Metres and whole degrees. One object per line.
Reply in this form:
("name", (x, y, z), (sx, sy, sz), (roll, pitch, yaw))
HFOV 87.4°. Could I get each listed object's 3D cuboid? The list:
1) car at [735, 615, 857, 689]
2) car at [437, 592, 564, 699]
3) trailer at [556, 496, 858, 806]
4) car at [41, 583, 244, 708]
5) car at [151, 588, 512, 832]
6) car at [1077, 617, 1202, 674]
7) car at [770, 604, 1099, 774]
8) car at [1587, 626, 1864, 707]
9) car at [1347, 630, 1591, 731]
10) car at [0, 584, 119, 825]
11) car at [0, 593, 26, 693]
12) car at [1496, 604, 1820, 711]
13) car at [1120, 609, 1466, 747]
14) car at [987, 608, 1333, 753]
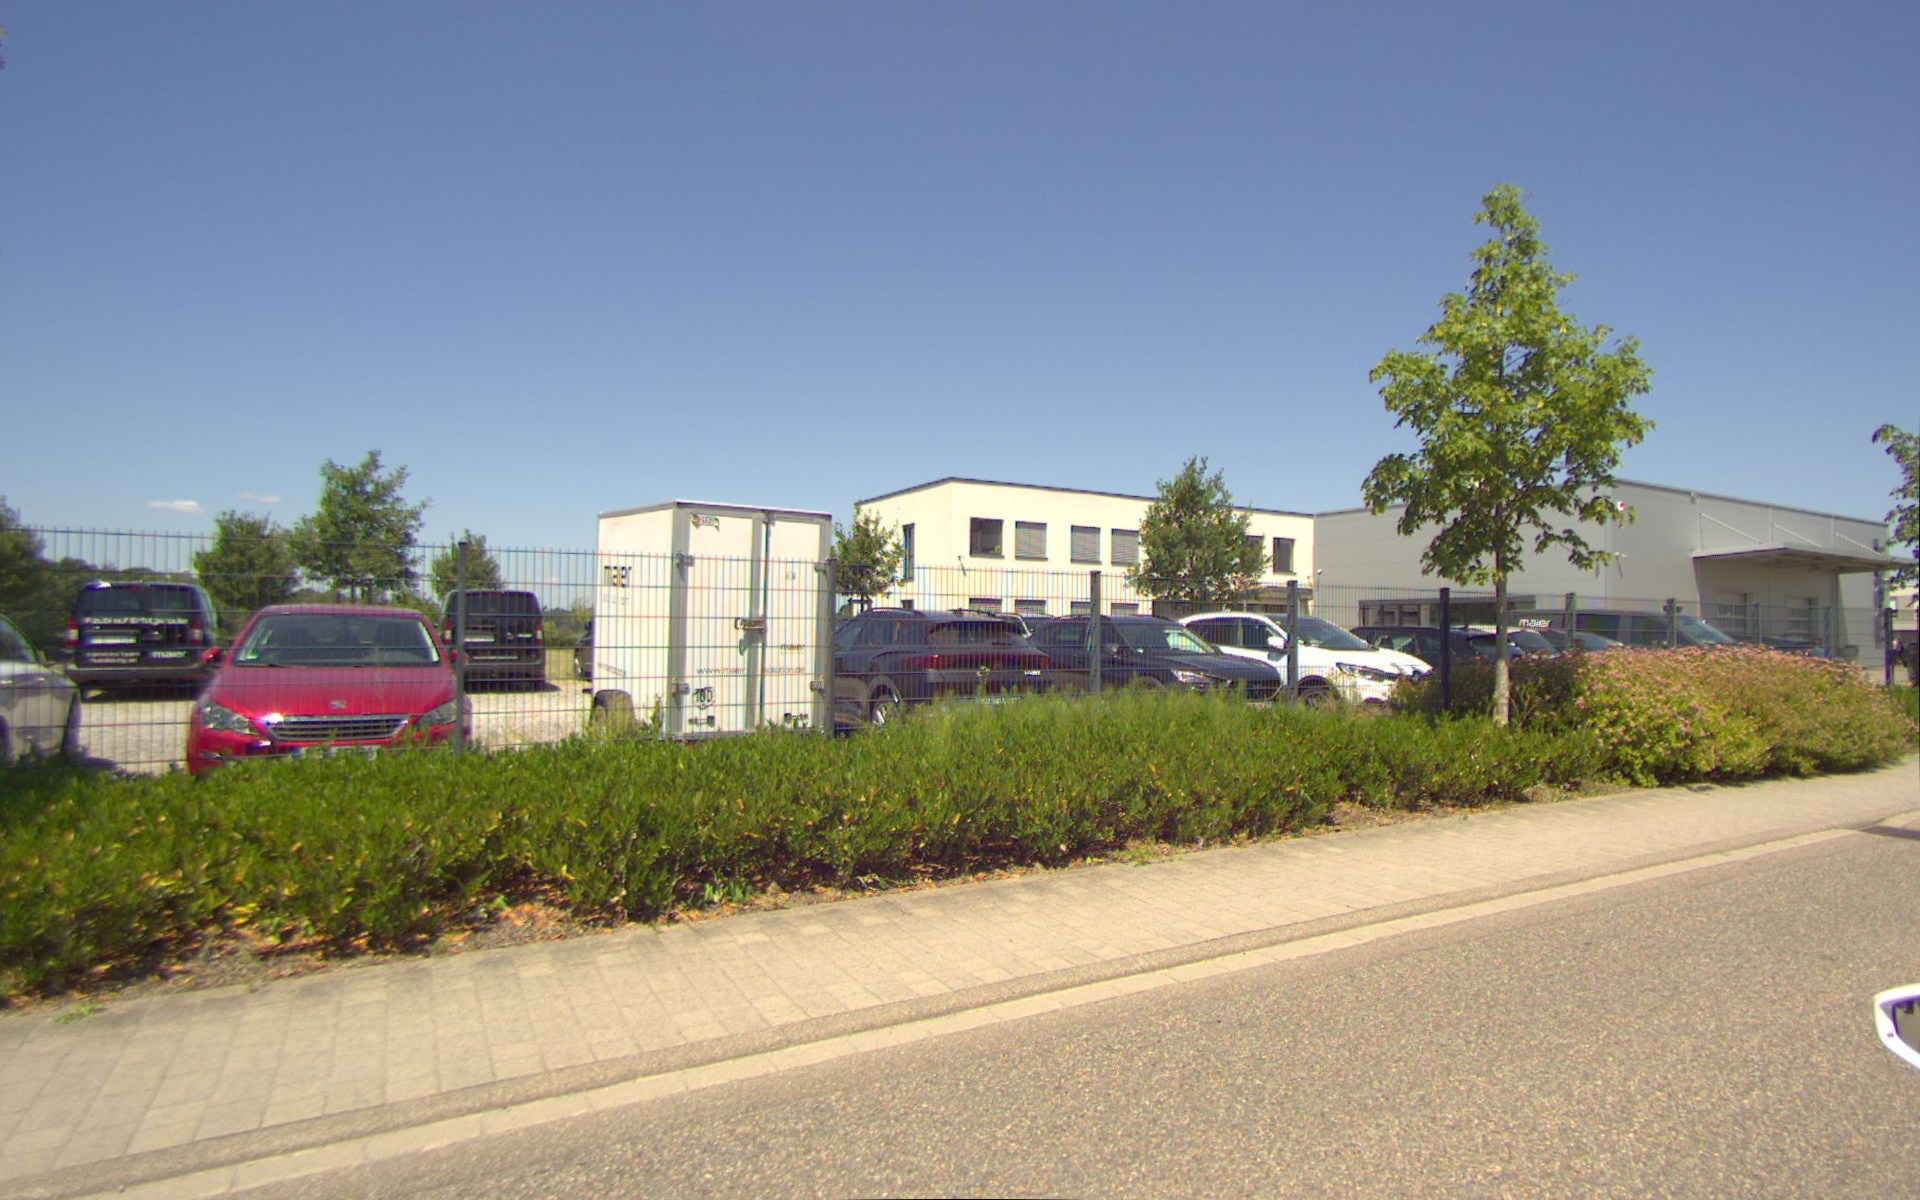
("car", (-3.584, 1.066, 21.545), (1.460, 1.433, 3.456), (1, -1, -30))
("car", (-8.798, 0.813, 19.049), (1.784, 1.795, 3.967), (1, -1, -30))
("trailer", (-2.670, 0.391, 9.873), (1.708, 2.391, 3.965), (2, 0, -32))
("car", (-13.352, 0.699, 16.678), (1.977, 1.795, 3.967), (1, -1, -30))
("car", (-5.098, 0.712, 8.383), (1.977, 1.471, 4.185), (1, -1, -31))
("car", (4.806, 1.192, 27.257), (1.460, 1.433, 3.456), (1, -1, -30))
("car", (-0.540, 0.870, 11.660), (1.976, 1.556, 4.528), (1, -1, -28))
("car", (16.034, 1.328, 21.280), (1.941, 1.465, 4.285), (1, -1, -30))
("car", (8.790, 1.319, 17.586), (1.882, 1.518, 3.355), (1, -1, -30))
("car", (-7.525, 0.645, 7.157), (1.758, 1.471, 4.183), (1, -1, -32))
("car", (-15.982, 0.670, 15.103), (1.977, 1.617, 3.967), (1, -1, -30))
("car", (13.803, 1.044, 20.257), (1.941, 1.875, 5.036), (1, -1, -30))
("car", (4.565, 0.990, 14.567), (1.975, 1.650, 4.713), (1, -1, -28))
("car", (2.393, 0.925, 13.353), (1.975, 1.556, 4.713), (1, -1, -28))
